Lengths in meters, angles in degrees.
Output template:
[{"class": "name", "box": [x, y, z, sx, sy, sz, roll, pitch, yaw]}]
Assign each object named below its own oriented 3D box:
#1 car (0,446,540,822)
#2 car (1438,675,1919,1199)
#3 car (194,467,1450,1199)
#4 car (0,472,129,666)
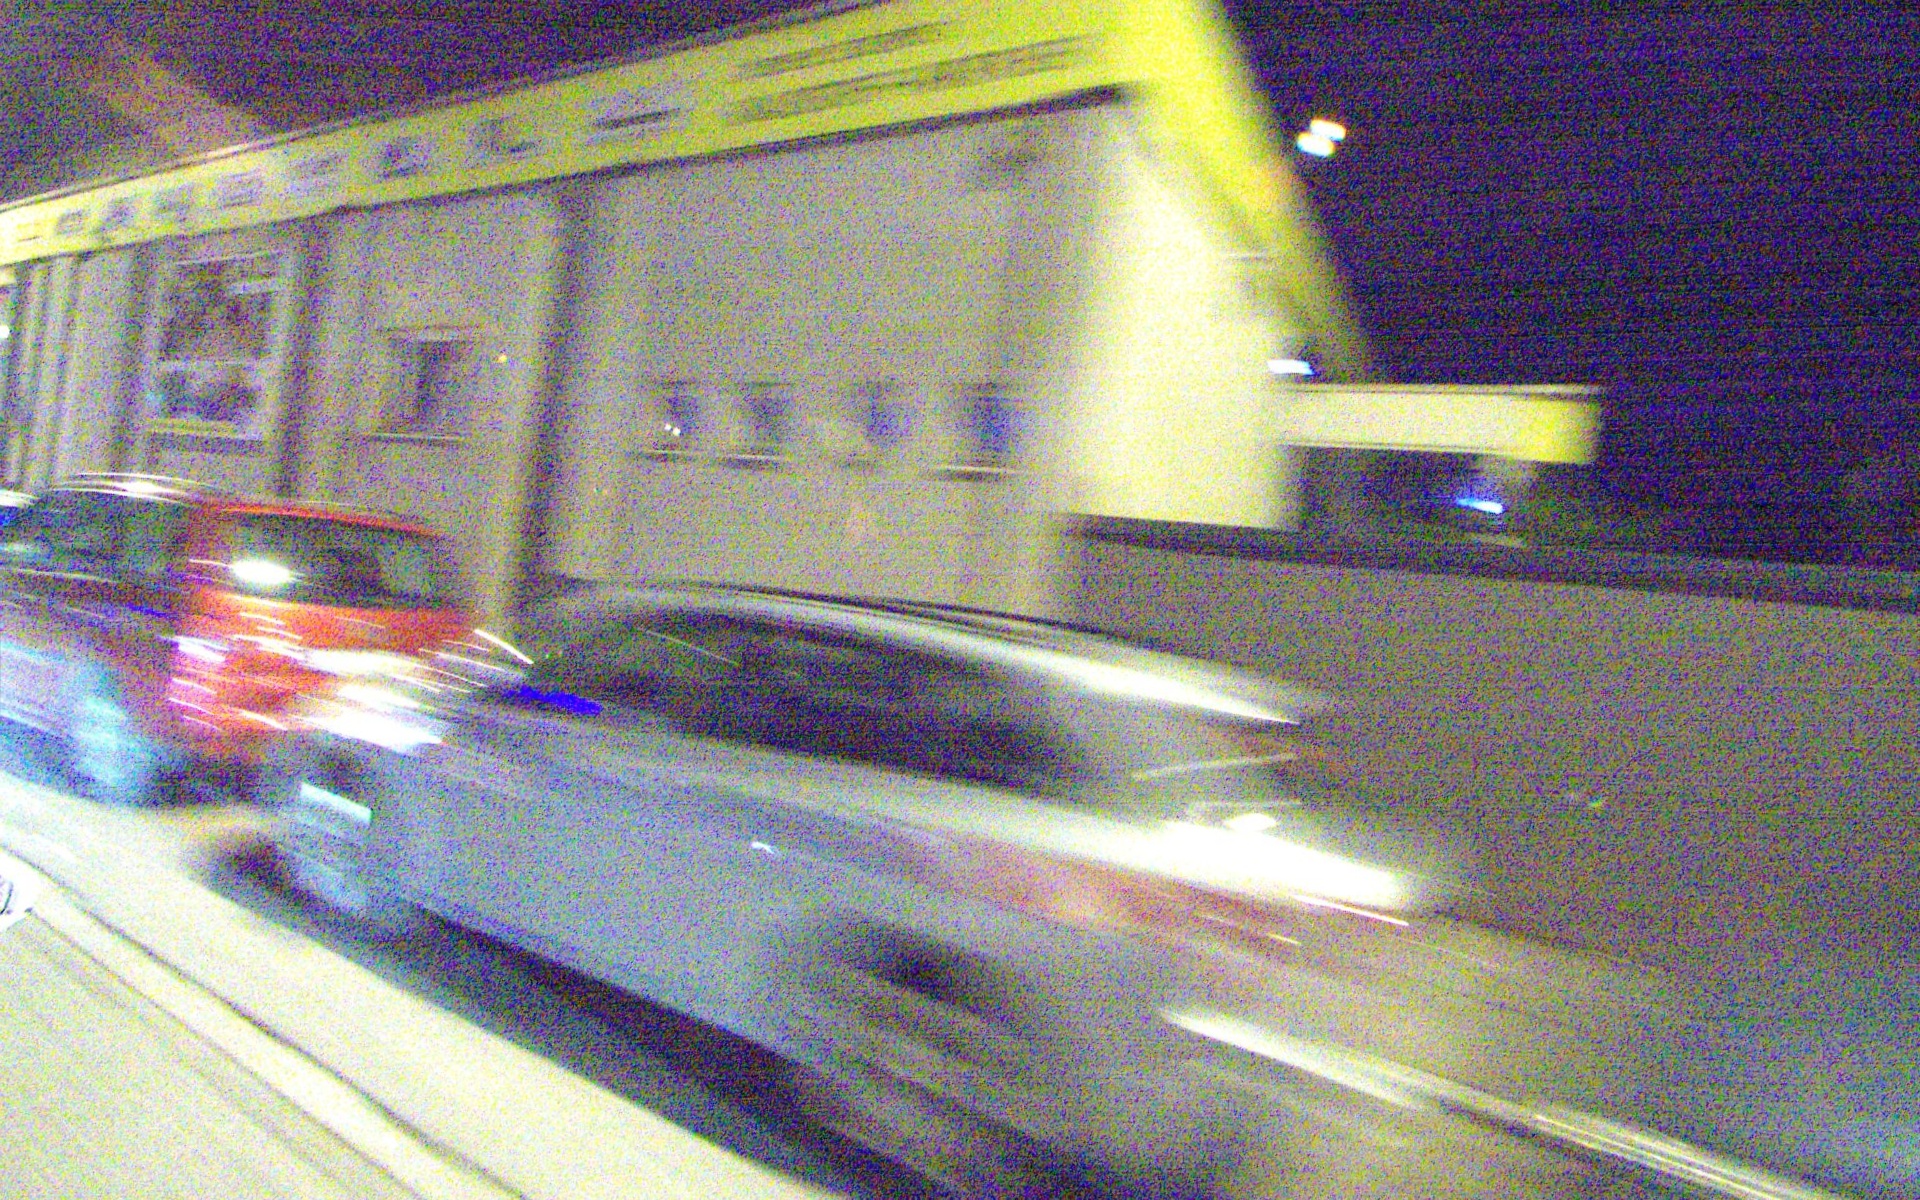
[{"class": "car", "box": [-4.984, 0.018, 6.435, 4.381, 1.643, 1.826, 7, 1, 29]}, {"class": "car", "box": [3.004, 1.104, 1.282, 4.121, 1.445, 1.817, 7, 1, 34]}, {"class": "car", "box": [-0.766, 0.535, 3.905, 4.550, 1.608, 1.826, 7, 0, 30]}, {"class": "car", "box": [-9.819, -0.469, 9.237, 4.469, 1.562, 1.778, 6, -1, 29]}]
